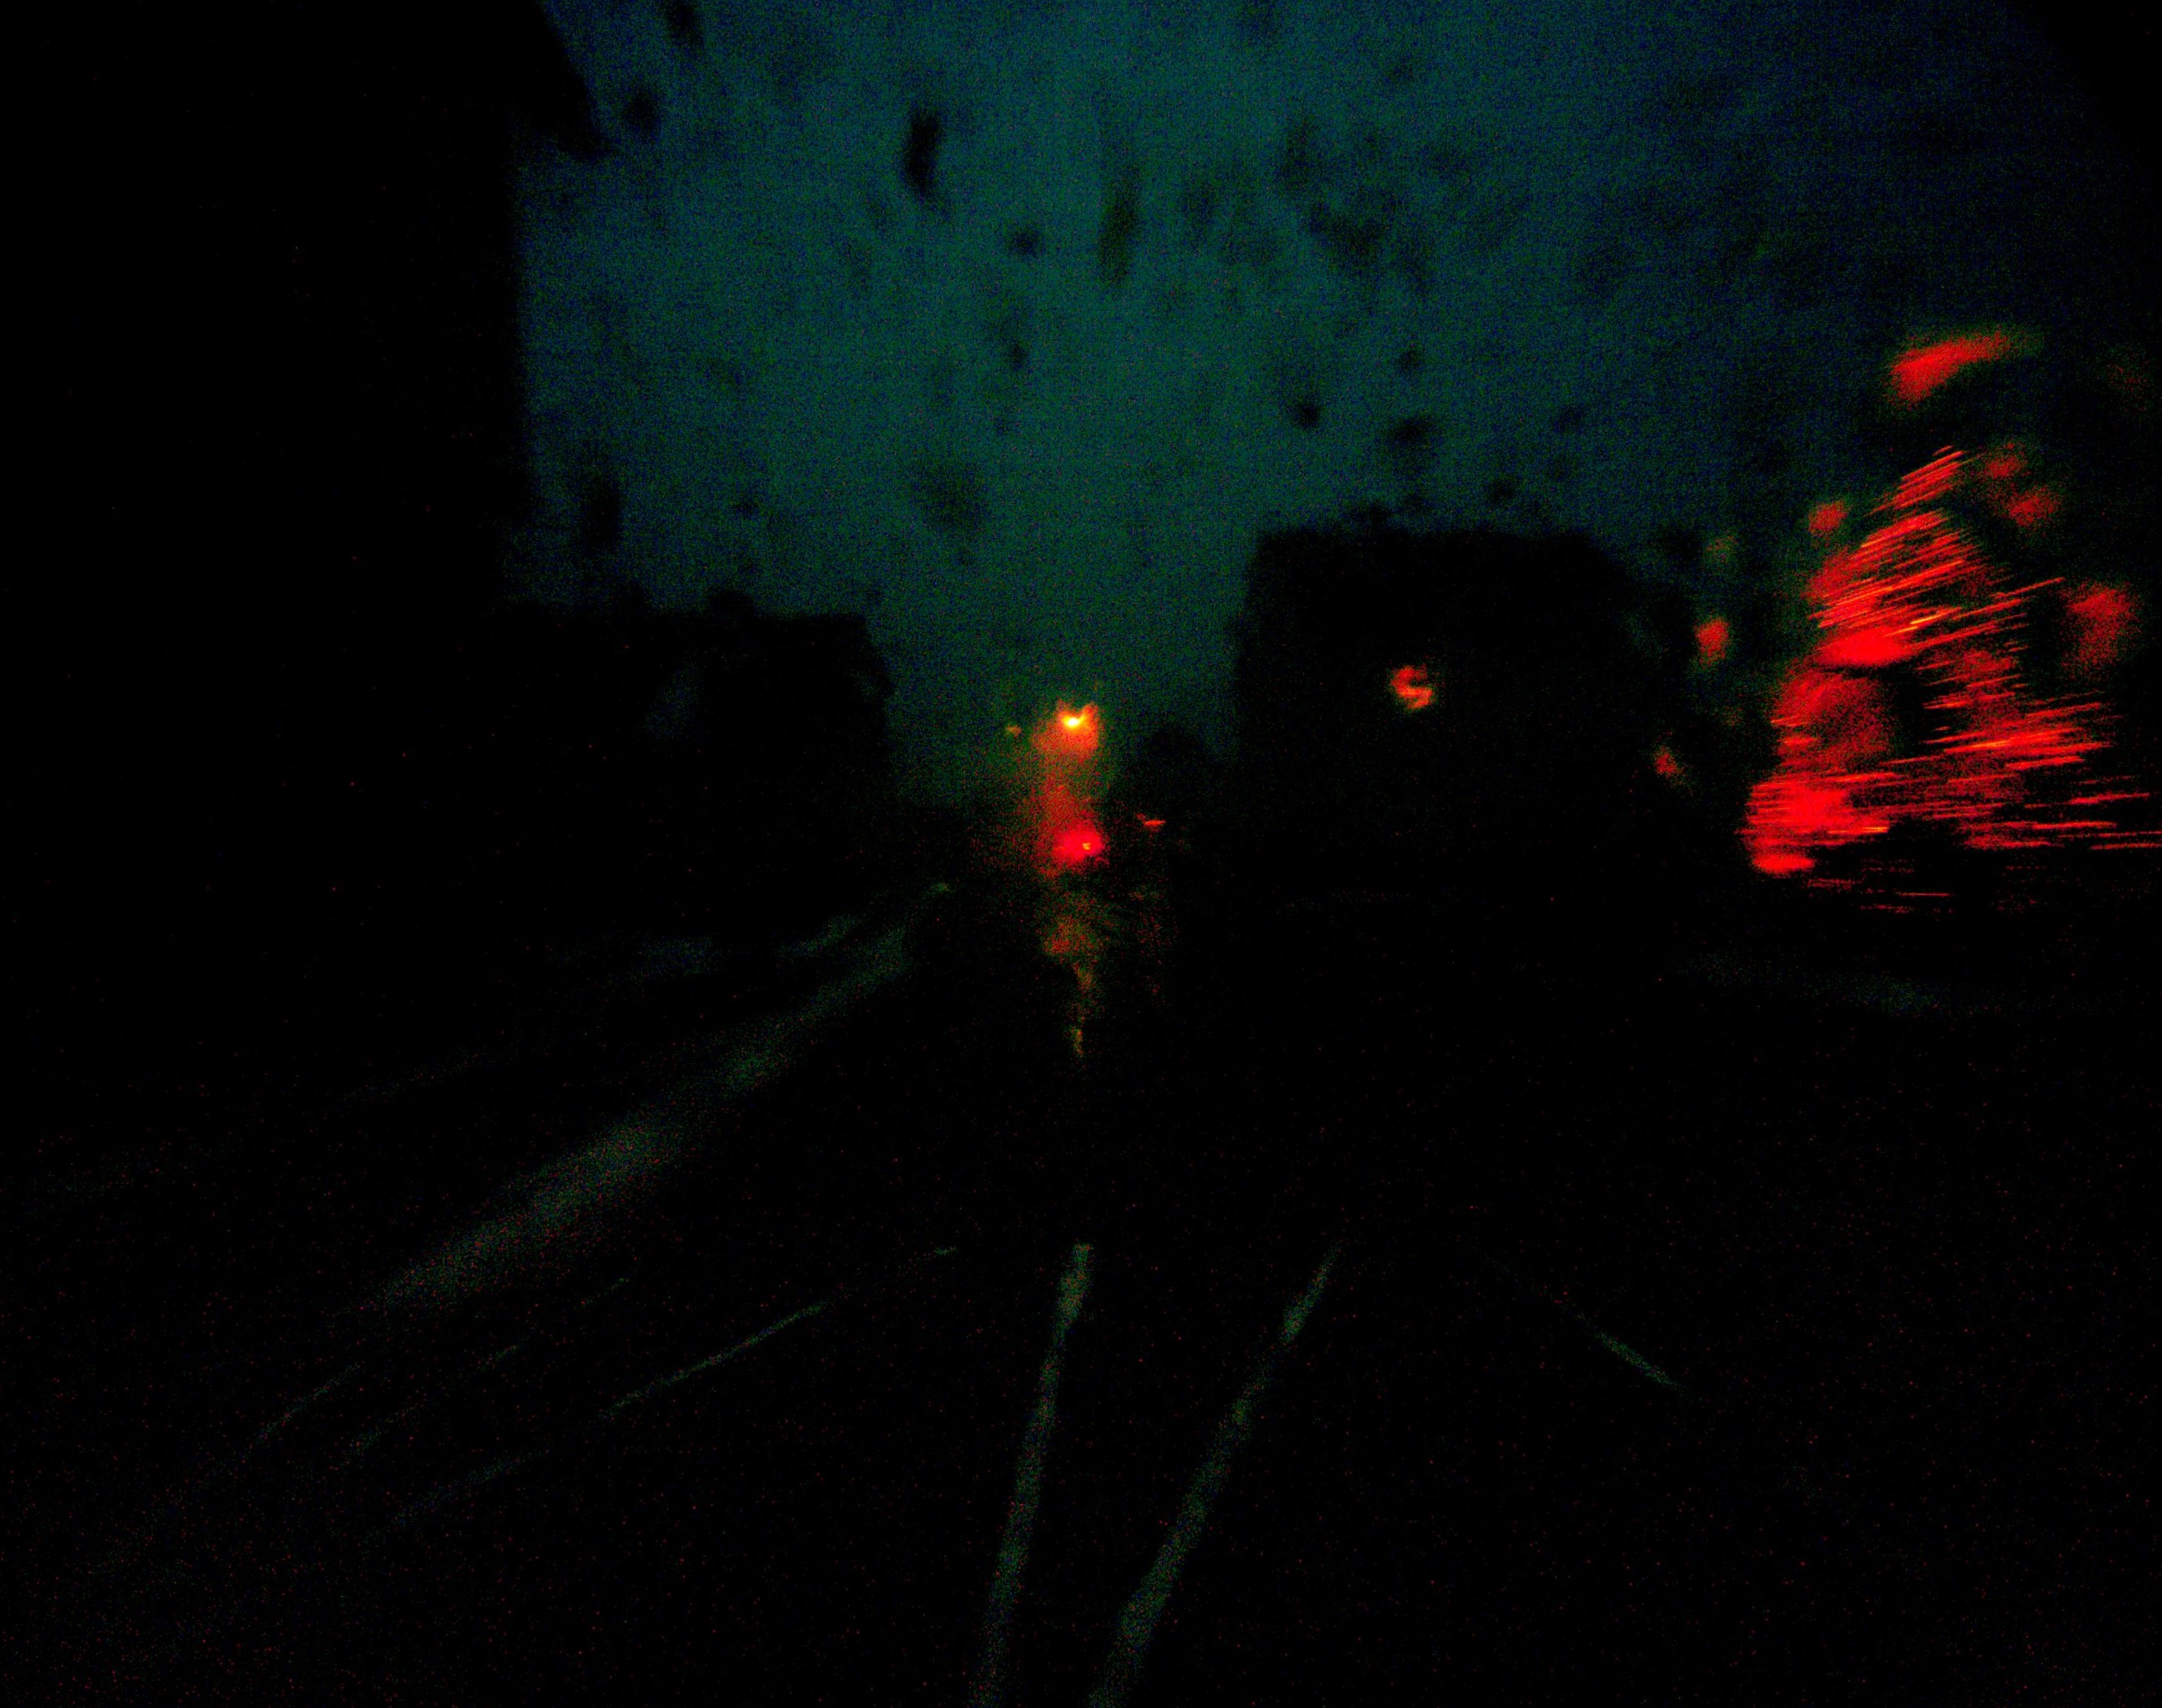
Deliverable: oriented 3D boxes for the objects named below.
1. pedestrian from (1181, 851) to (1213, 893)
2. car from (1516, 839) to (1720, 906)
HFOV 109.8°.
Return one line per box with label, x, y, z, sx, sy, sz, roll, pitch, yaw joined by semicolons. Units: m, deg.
pedestrian;3.730;0.569;24.419;0.810;1.321;0.660;-3;1;-7
car;12.838;0.420;18.290;3.786;1.365;1.625;-3;1;-3
